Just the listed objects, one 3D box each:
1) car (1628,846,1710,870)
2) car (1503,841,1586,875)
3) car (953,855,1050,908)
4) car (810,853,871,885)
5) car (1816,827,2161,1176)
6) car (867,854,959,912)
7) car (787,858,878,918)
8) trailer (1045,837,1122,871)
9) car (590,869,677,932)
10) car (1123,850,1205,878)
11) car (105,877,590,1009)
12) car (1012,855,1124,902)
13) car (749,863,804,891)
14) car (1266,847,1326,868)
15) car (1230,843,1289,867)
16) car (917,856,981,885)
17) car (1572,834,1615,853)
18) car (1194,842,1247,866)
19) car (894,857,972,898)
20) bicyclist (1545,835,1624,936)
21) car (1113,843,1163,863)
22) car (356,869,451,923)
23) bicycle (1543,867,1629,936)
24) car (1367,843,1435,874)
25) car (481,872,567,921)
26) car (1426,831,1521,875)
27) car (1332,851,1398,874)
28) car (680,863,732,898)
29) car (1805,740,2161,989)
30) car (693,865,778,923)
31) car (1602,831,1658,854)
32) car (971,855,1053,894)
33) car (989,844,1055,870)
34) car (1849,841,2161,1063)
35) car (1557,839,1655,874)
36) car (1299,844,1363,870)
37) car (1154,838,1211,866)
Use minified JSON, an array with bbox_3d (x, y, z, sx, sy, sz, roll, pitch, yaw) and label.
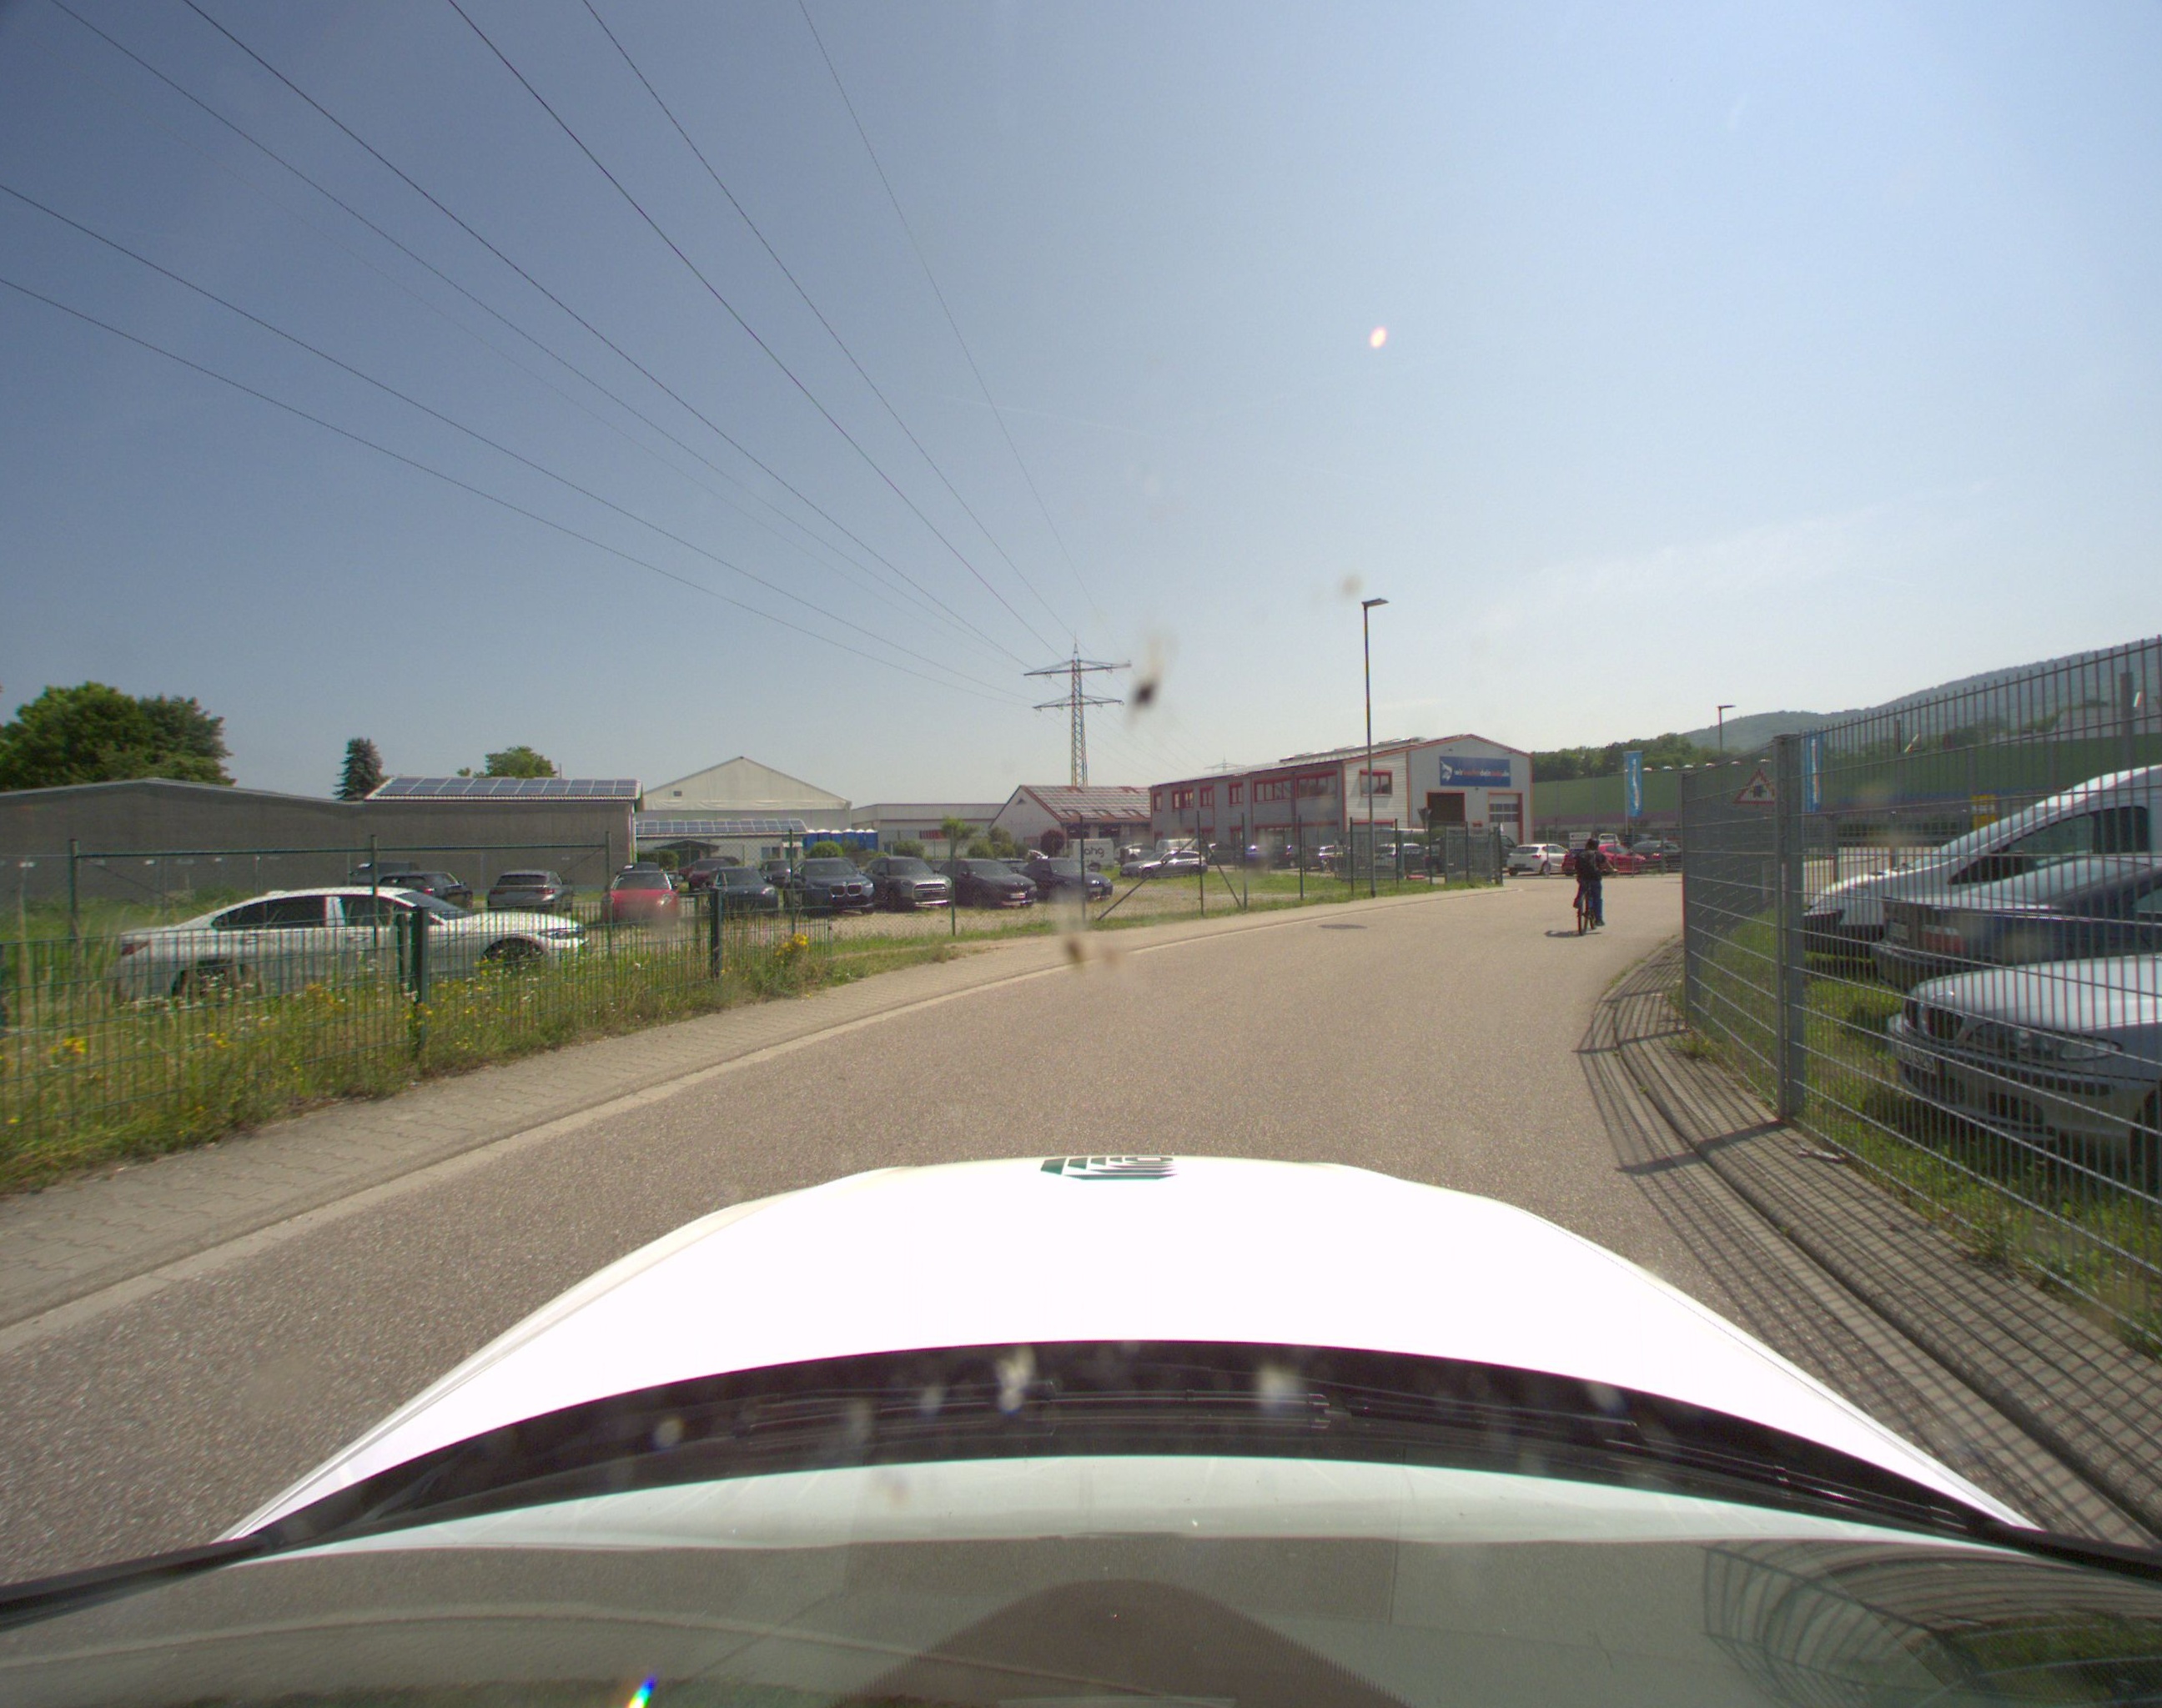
[{"bbox_3d":[27.285,0.169,37.776,4.124,1.007,1.474,-2,1,-29],"label":"car"},{"bbox_3d":[21.601,0.169,37.972,3.613,1.404,1.735,-2,1,-29],"label":"car"},{"bbox_3d":[-2.667,0.858,26.610,1.873,1.554,3.736,-1,0,-28],"label":"car"},{"bbox_3d":[-12.036,0.705,40.514,2.007,1.435,4.623,-1,0,-28],"label":"car"},{"bbox_3d":[6.101,0.551,3.322,4.303,1.395,1.626,-1,0,26],"label":"car"},{"bbox_3d":[-5.362,0.855,25.703,1.873,1.644,3.601,-1,0,-28],"label":"car"},{"bbox_3d":[-7.385,0.945,24.024,1.873,1.561,3.663,-1,0,-28],"label":"car"},{"bbox_3d":[0.133,0.002,50.244,4.453,1.945,1.706,-2,0,-14],"label":"trailer"},{"bbox_3d":[-11.921,1.178,21.797,1.873,1.453,3.409,-1,0,-28],"label":"car"},{"bbox_3d":[4.213,0.488,40.990,4.153,1.261,1.224,-2,0,-29],"label":"car"},{"bbox_3d":[-9.480,1.061,11.149,4.573,1.307,1.852,-2,0,-28],"label":"car"},{"bbox_3d":[-0.573,0.800,28.424,2.007,1.435,4.623,-1,0,-28],"label":"car"},{"bbox_3d":[-14.477,1.062,38.551,1.873,1.175,4.562,-1,0,-28],"label":"car"},{"bbox_3d":[13.447,0.202,50.886,3.613,1.151,1.494,-2,1,-29],"label":"car"},{"bbox_3d":[11.655,0.050,53.104,3.613,1.416,1.494,-2,0,-29],"label":"car"},{"bbox_3d":[-7.182,0.844,43.850,2.007,1.435,4.623,-1,0,-28],"label":"car"},{"bbox_3d":[48.175,-1.020,76.535,4.010,1.657,1.689,-2,1,-28],"label":"car"},{"bbox_3d":[10.097,-0.009,58.860,3.613,1.544,1.494,-2,0,-29],"label":"car"},{"bbox_3d":[-5.864,0.878,31.890,2.004,1.420,3.966,-2,1,-26],"label":"car"},{"bbox_3d":[8.524,0.501,13.793,1.044,1.618,0.835,0,0,-38],"label":"bicyclist"},{"bbox_3d":[4.690,-0.099,67.185,3.917,1.516,1.494,-2,0,-29],"label":"car"},{"bbox_3d":[-20.041,1.187,24.234,1.877,1.414,3.403,-1,0,-35],"label":"car"},{"bbox_3d":[8.638,0.773,13.899,1.910,1.051,0.679,-1,1,-40],"label":"bicycle"},{"bbox_3d":[17.410,0.242,44.285,3.613,1.539,1.494,-2,0,-29],"label":"car"},{"bbox_3d":[-16.922,1.246,24.894,1.874,1.298,3.408,-1,0,-30],"label":"car"},{"bbox_3d":[19.333,-0.075,40.090,4.530,2.030,1.939,-2,0,-29],"label":"car"},{"bbox_3d":[16.087,0.460,46.102,3.613,1.151,1.494,-2,1,-29],"label":"car"},{"bbox_3d":[-17.096,1.140,37.000,1.873,1.433,4.562,-1,0,-28],"label":"car"},{"bbox_3d":[10.263,0.066,7.506,5.274,2.149,1.919,-1,0,40],"label":"car"},{"bbox_3d":[-9.807,1.061,22.967,1.873,1.433,3.615,-1,0,-28],"label":"car"},{"bbox_3d":[41.575,-0.886,61.642,4.013,1.581,1.981,-2,1,-30],"label":"car"},{"bbox_3d":[-2.920,0.767,33.514,2.005,1.435,4.387,-1,1,-24],"label":"car"},{"bbox_3d":[-3.968,0.186,54.569,4.008,1.598,1.861,-2,0,-27],"label":"car"},{"bbox_3d":[7.953,0.594,5.236,4.153,1.357,1.627,-1,0,34],"label":"car"},{"bbox_3d":[23.035,0.099,35.711,4.124,1.386,1.858,-2,1,-29],"label":"car"},{"bbox_3d":[14.728,0.145,47.879,3.613,1.381,1.494,-2,0,-29],"label":"car"},{"bbox_3d":[7.572,-0.175,60.836,3.917,1.978,1.806,-2,0,-29],"label":"car"}]
